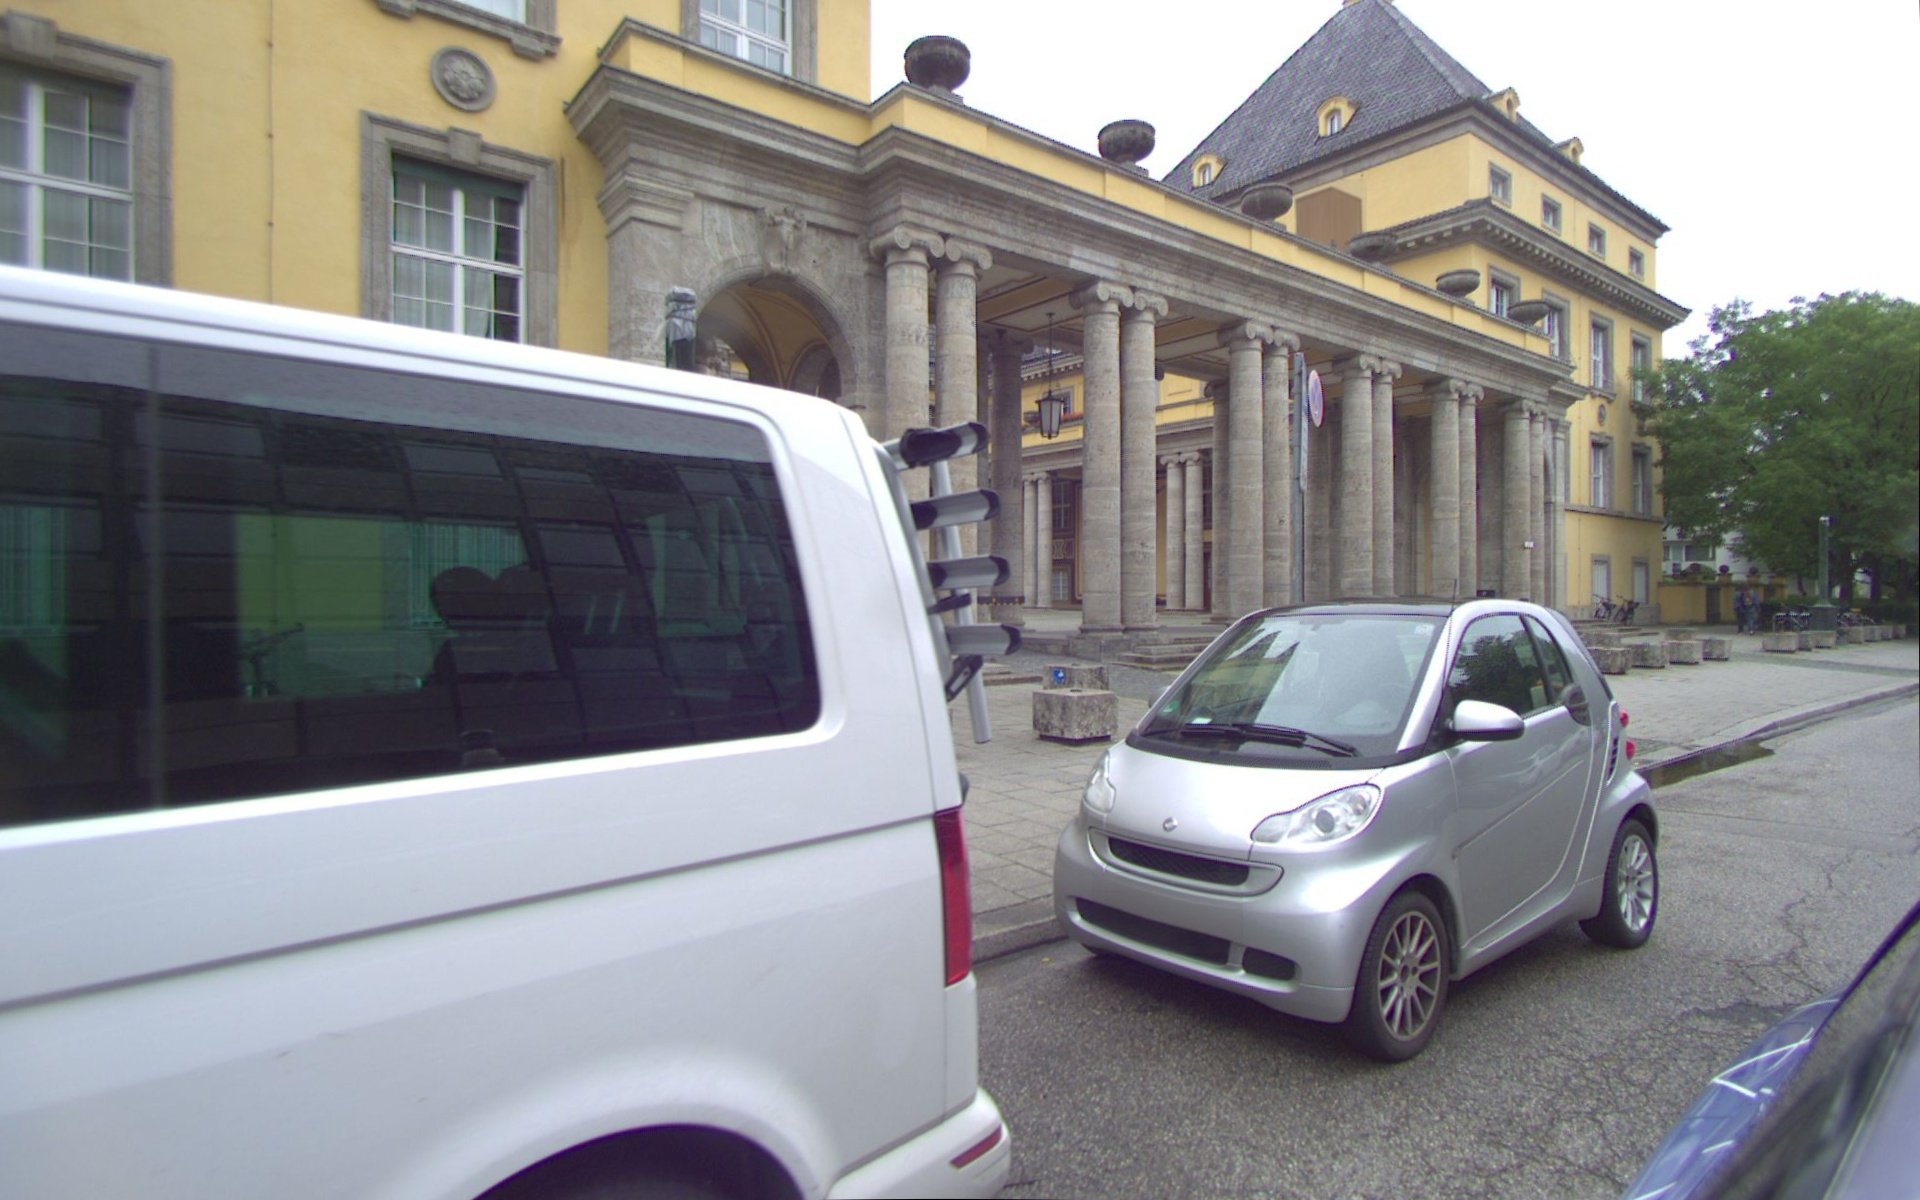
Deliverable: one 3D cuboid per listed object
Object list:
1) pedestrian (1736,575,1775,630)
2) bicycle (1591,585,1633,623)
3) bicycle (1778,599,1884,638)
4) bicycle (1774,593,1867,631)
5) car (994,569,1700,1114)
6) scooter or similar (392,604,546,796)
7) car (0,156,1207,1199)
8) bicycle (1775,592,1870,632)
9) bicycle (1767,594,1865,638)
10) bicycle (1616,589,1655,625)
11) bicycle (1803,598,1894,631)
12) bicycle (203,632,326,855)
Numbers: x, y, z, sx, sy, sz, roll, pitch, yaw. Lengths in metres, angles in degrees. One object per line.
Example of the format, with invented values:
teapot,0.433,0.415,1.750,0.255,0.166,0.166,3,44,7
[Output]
pedestrian,26.217,0.060,33.336,1.037,1.768,0.790,0,1,-38
bicycle,23.675,0.135,36.729,2.223,1.323,0.601,0,1,-38
bicycle,26.293,0.550,30.585,2.363,1.018,0.667,4,3,44
bicycle,28.667,0.380,33.751,2.257,1.036,0.593,7,6,42
car,1.782,0.710,4.457,2.880,1.566,1.609,0,-2,-38
scooter or similar,-3.487,0.667,7.260,0.529,1.237,1.010,1,1,7
car,-2.076,0.571,1.259,5.178,1.958,1.848,0,-3,-39
bicycle,28.101,0.380,33.017,2.257,1.071,0.593,7,6,42
bicycle,26.869,0.486,31.808,2.257,1.107,0.593,7,6,42
bicycle,25.489,0.234,38.166,2.126,1.323,0.601,0,1,-39
bicycle,30.525,0.484,34.802,0.590,1.023,2.265,1,2,-35
bicycle,-4.504,0.824,6.502,0.463,1.127,1.935,0,1,-40
